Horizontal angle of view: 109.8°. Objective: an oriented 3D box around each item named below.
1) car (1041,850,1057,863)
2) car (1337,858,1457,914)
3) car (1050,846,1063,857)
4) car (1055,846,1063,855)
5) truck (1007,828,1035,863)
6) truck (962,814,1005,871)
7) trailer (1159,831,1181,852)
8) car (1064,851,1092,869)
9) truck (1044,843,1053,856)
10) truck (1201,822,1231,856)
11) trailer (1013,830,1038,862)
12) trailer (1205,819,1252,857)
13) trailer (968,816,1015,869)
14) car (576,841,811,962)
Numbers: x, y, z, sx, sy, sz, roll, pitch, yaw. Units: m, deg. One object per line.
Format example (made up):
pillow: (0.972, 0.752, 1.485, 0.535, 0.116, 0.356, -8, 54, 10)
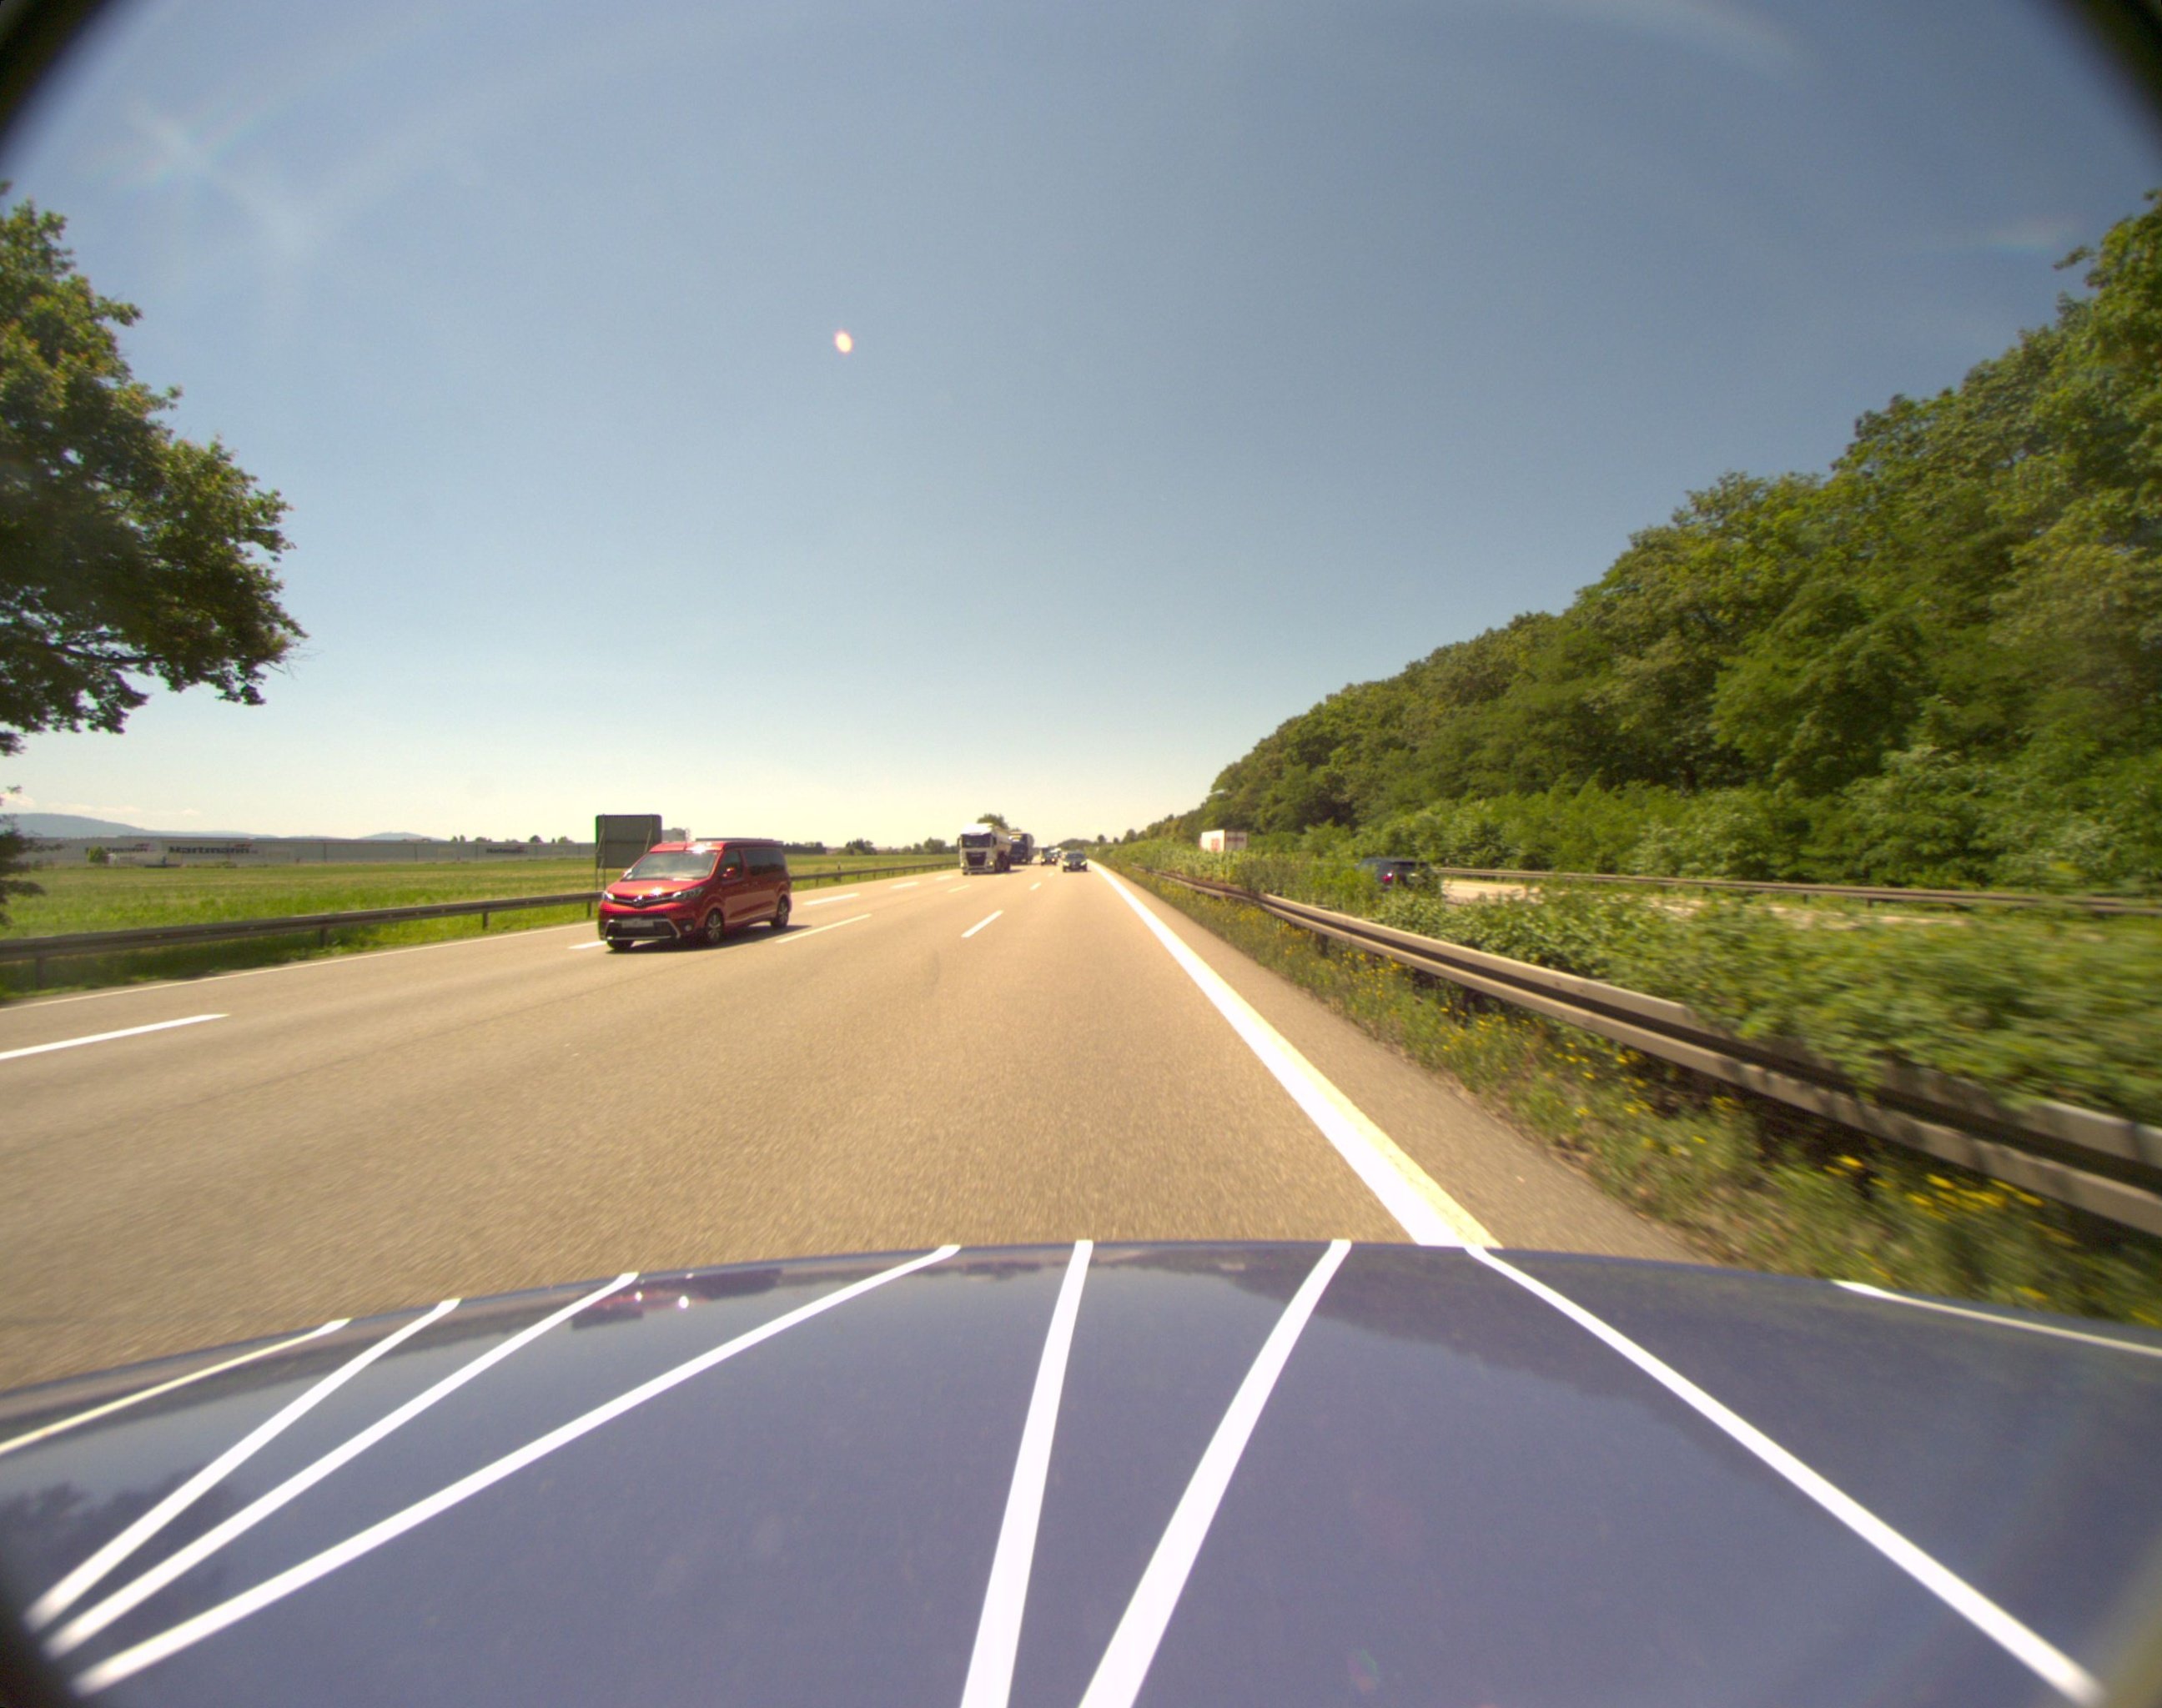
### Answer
car: (-3.676, 0.248, 87.397, 1.841, 1.409, 4.496, -1, 0, -3)
car: (9.130, 0.872, 22.336, 1.816, 1.397, 4.014, -1, 1, -1)
car: (-3.716, -0.436, 114.759, 1.887, 1.634, 3.999, -1, 0, -1)
car: (-5.263, -0.867, 183.561, 1.999, 2.002, 3.999, -1, 1, -2)
truck: (-7.659, -1.049, 98.457, 2.797, 4.180, 10.804, -1, 0, -1)
truck: (-7.532, -0.888, 59.026, 2.798, 4.180, 4.998, -1, 1, -2)
trailer: (17.741, -2.420, 151.963, 2.841, 4.011, 12.912, 1, 1, 0)
car: (-0.271, 0.440, 58.268, 1.887, 1.341, 4.466, -1, 0, -3)
truck: (-10.288, -1.388, 239.868, 2.798, 4.180, 10.803, -1, 0, -3)
truck: (16.705, -1.872, 94.311, 2.928, 4.026, 4.294, -1, 1, 0)
trailer: (-7.817, -1.103, 108.181, 2.797, 4.180, 10.805, -1, 0, -1)
trailer: (16.718, -1.771, 87.159, 2.928, 4.026, 12.914, -1, 1, 0)
trailer: (-7.681, -0.923, 66.631, 2.797, 4.180, 12.350, -1, 0, -1)
car: (-7.564, 0.783, 15.672, 1.860, 1.991, 5.521, -2, 1, 1)
